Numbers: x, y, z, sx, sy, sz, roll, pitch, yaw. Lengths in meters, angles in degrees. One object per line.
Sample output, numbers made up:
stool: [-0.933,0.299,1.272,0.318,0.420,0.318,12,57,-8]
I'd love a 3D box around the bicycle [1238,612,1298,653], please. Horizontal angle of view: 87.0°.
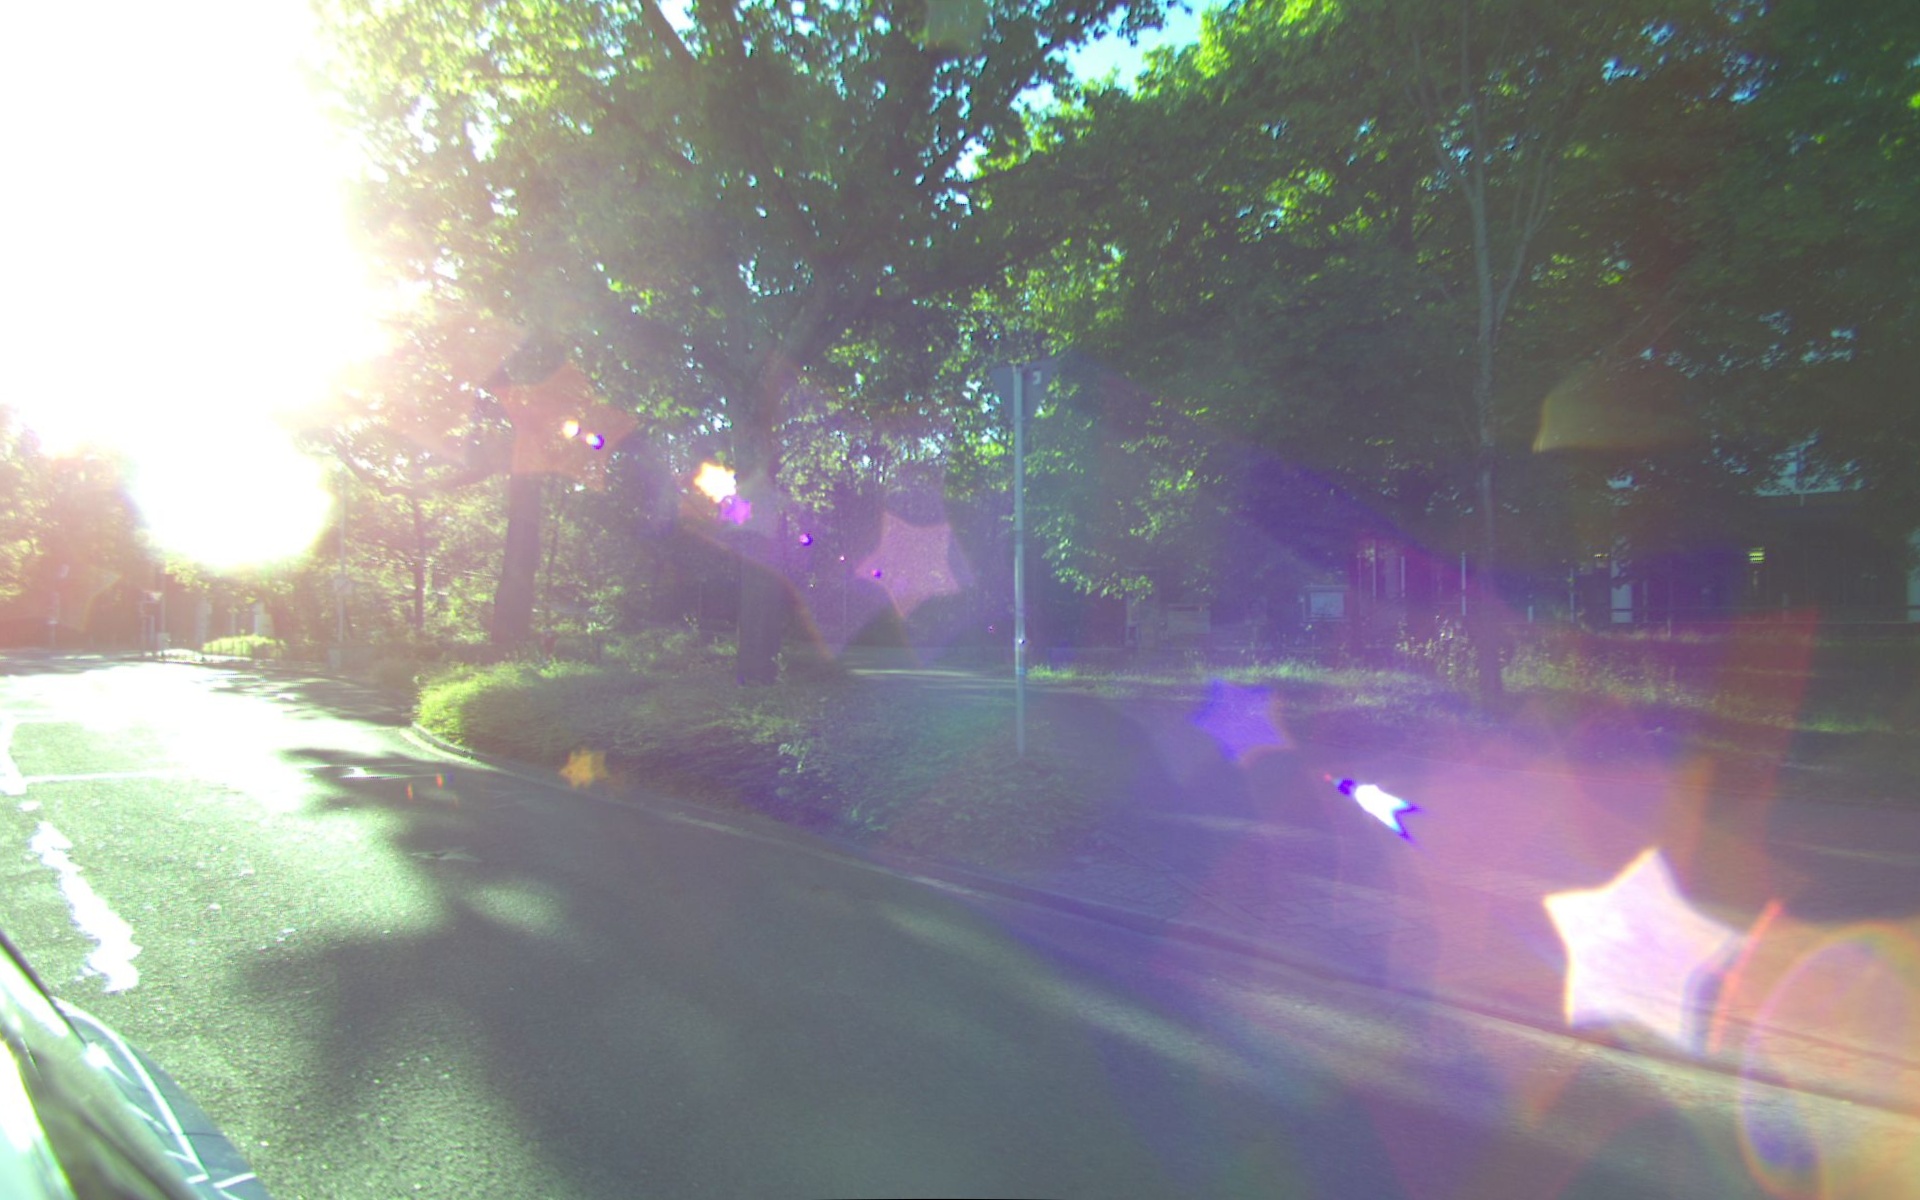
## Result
bicycle: [8.880,0.918,29.307,0.528,1.079,2.435,-4,0,-11]

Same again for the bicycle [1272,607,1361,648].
bicycle: [10.291,0.800,29.339,0.528,1.079,2.642,-5,1,-32]
